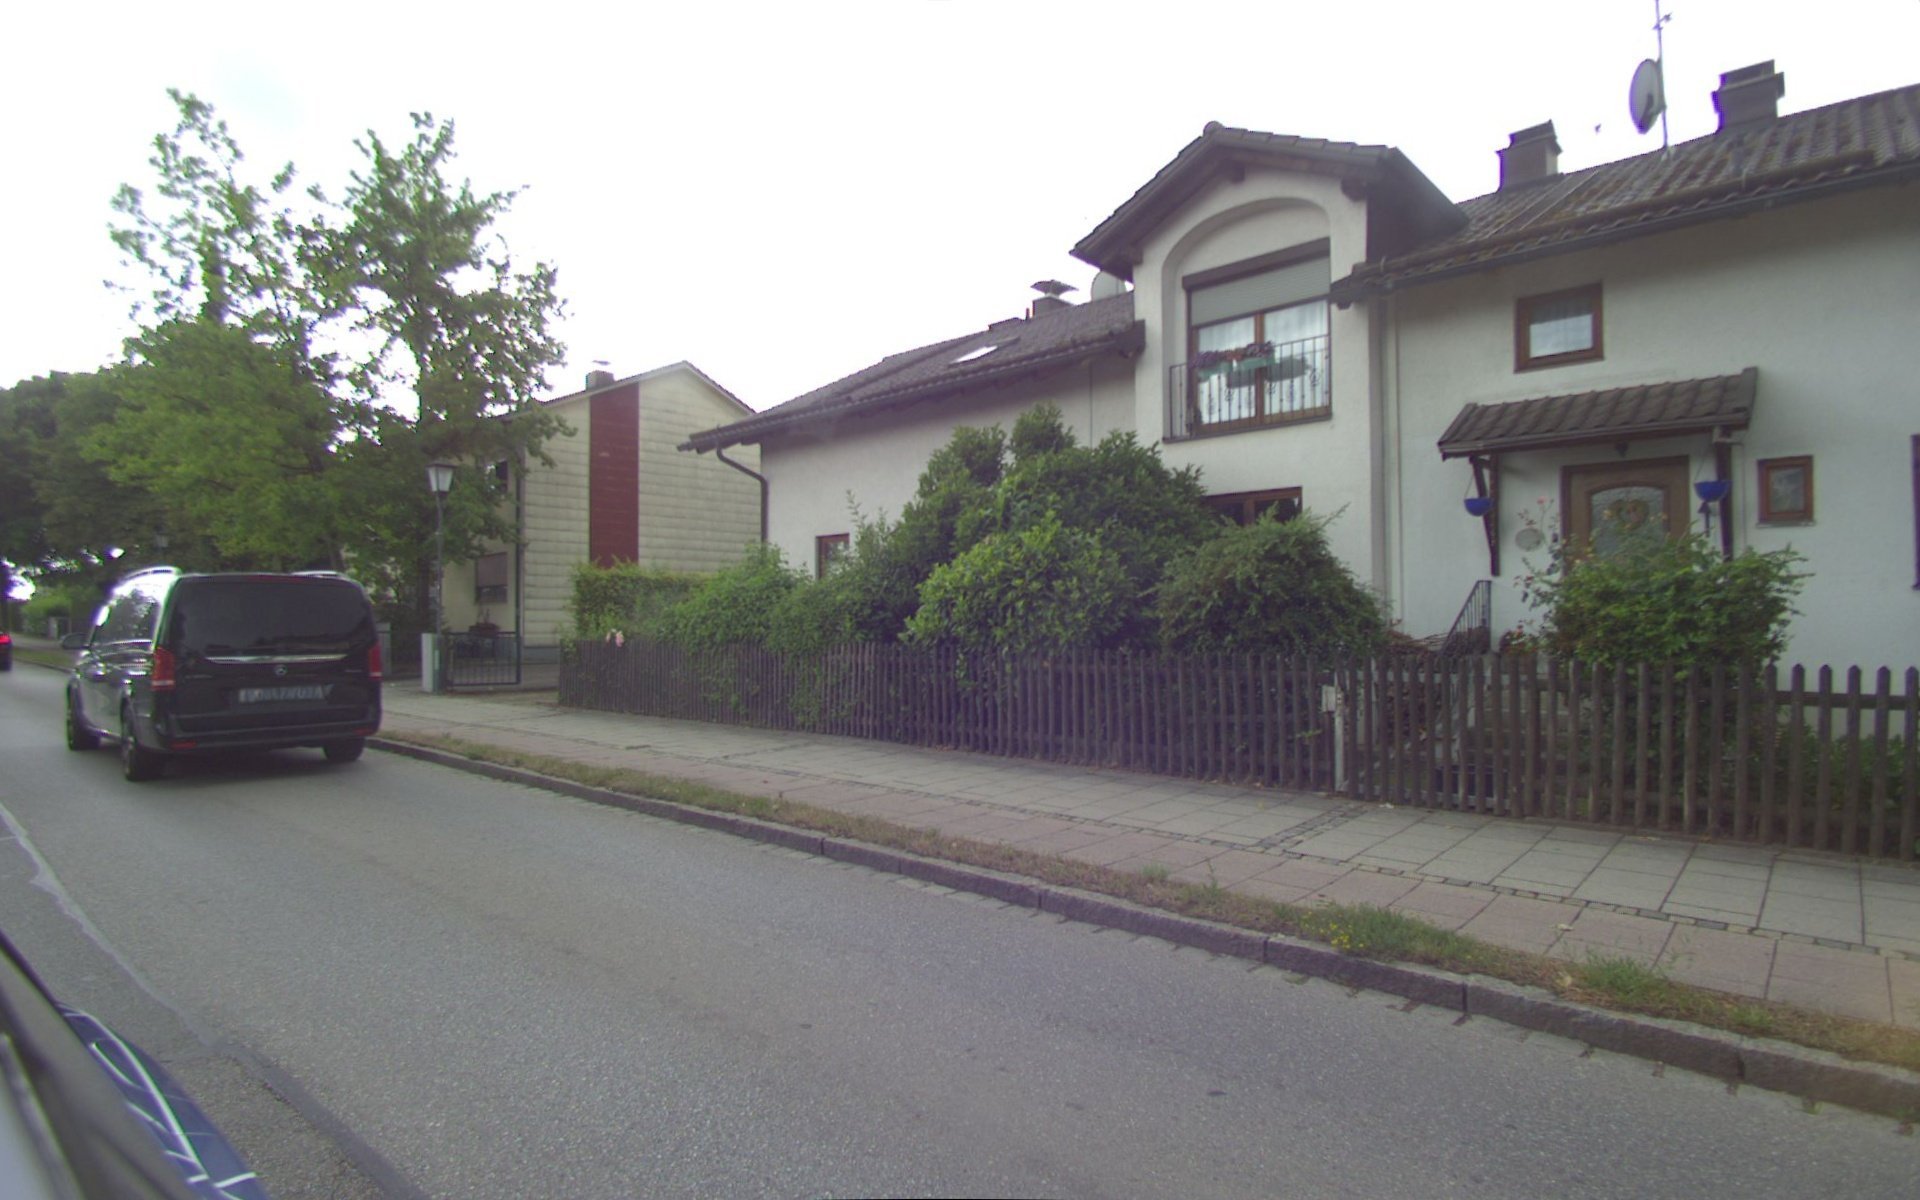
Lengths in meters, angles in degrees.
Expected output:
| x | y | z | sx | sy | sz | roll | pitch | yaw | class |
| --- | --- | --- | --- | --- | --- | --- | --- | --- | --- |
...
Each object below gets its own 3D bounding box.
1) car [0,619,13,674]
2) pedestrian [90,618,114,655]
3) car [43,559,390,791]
| x | y | z | sx | sy | sz | roll | pitch | yaw | class |
| --- | --- | --- | --- | --- | --- | --- | --- | --- | --- |
| -27.840 | 1.274 | 28.066 | 4.546 | 1.465 | 1.827 | -1 | -1 | 41 | car |
| -33.723 | 1.432 | 39.774 | 0.563 | 1.448 | 0.623 | -1 | -2 | 41 | pedestrian |
| -7.910 | 0.656 | 10.558 | 4.946 | 1.867 | 1.944 | -1 | -2 | 42 | car |
